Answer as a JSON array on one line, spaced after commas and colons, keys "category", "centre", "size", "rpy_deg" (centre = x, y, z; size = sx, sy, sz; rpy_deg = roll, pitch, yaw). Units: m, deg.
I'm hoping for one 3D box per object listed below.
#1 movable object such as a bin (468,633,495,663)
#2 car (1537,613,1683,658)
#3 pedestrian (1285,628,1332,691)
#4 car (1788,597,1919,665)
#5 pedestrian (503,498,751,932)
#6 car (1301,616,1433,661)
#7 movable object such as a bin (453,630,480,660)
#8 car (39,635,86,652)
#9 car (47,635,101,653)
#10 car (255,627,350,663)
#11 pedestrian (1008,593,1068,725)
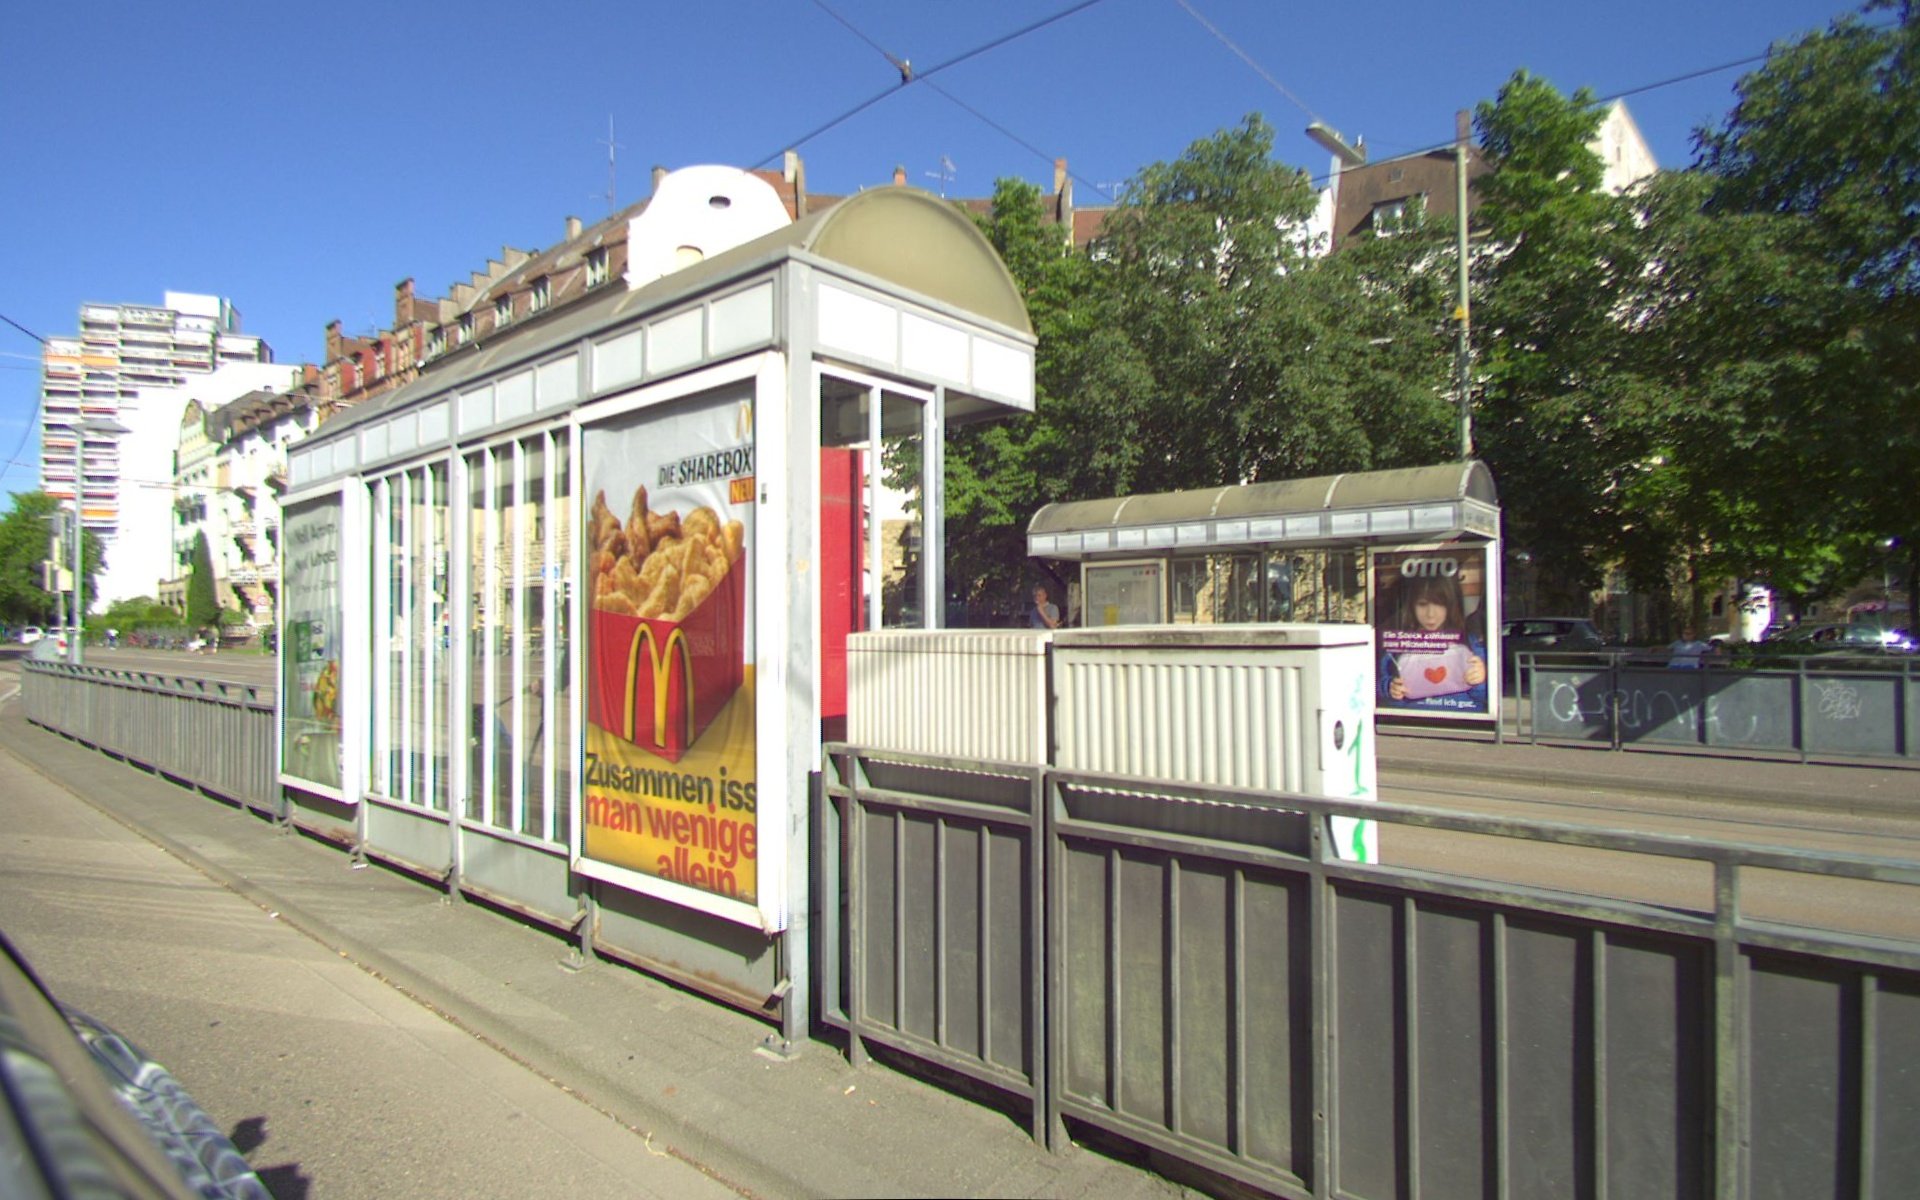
[{"category": "movable object such as a bin", "centre": [-21.987, 2.198, 46.537], "size": [0.746, 1.318, 0.868], "rpy_deg": [-2, -1, 35]}, {"category": "car", "centre": [17.070, 0.945, 26.702], "size": [3.135, 1.104, 1.452], "rpy_deg": [-2, -1, 33]}, {"category": "pedestrian", "centre": [7.390, 1.242, 21.470], "size": [0.724, 1.291, 0.650], "rpy_deg": [-2, -1, 41]}, {"category": "car", "centre": [22.478, 0.773, 24.152], "size": [3.959, 1.554, 1.740], "rpy_deg": [1, -3, -1]}, {"category": "pedestrian", "centre": [-1.641, 0.500, 4.981], "size": [0.895, 1.886, 0.763], "rpy_deg": [-2, 0, 43]}, {"category": "car", "centre": [11.888, 1.119, 29.590], "size": [3.439, 1.225, 1.514], "rpy_deg": [-2, -1, 27]}, {"category": "movable object such as a bin", "centre": [-22.868, 2.076, 46.913], "size": [0.746, 1.318, 0.868], "rpy_deg": [-2, -1, 35]}, {"category": "car", "centre": [-79.990, 3.877, 90.215], "size": [1.545, 1.431, 3.227], "rpy_deg": [-1, -1, -6]}, {"category": "car", "centre": [-76.734, 3.817, 87.704], "size": [3.168, 1.431, 1.574], "rpy_deg": [-1, -1, -17]}, {"category": "car", "centre": [-34.859, 2.350, 53.754], "size": [1.815, 1.600, 3.840], "rpy_deg": [3, 2, 36]}, {"category": "pedestrian", "centre": [1.087, 0.811, 14.112], "size": [0.673, 1.798, 0.460], "rpy_deg": [-2, -3, 40]}]
